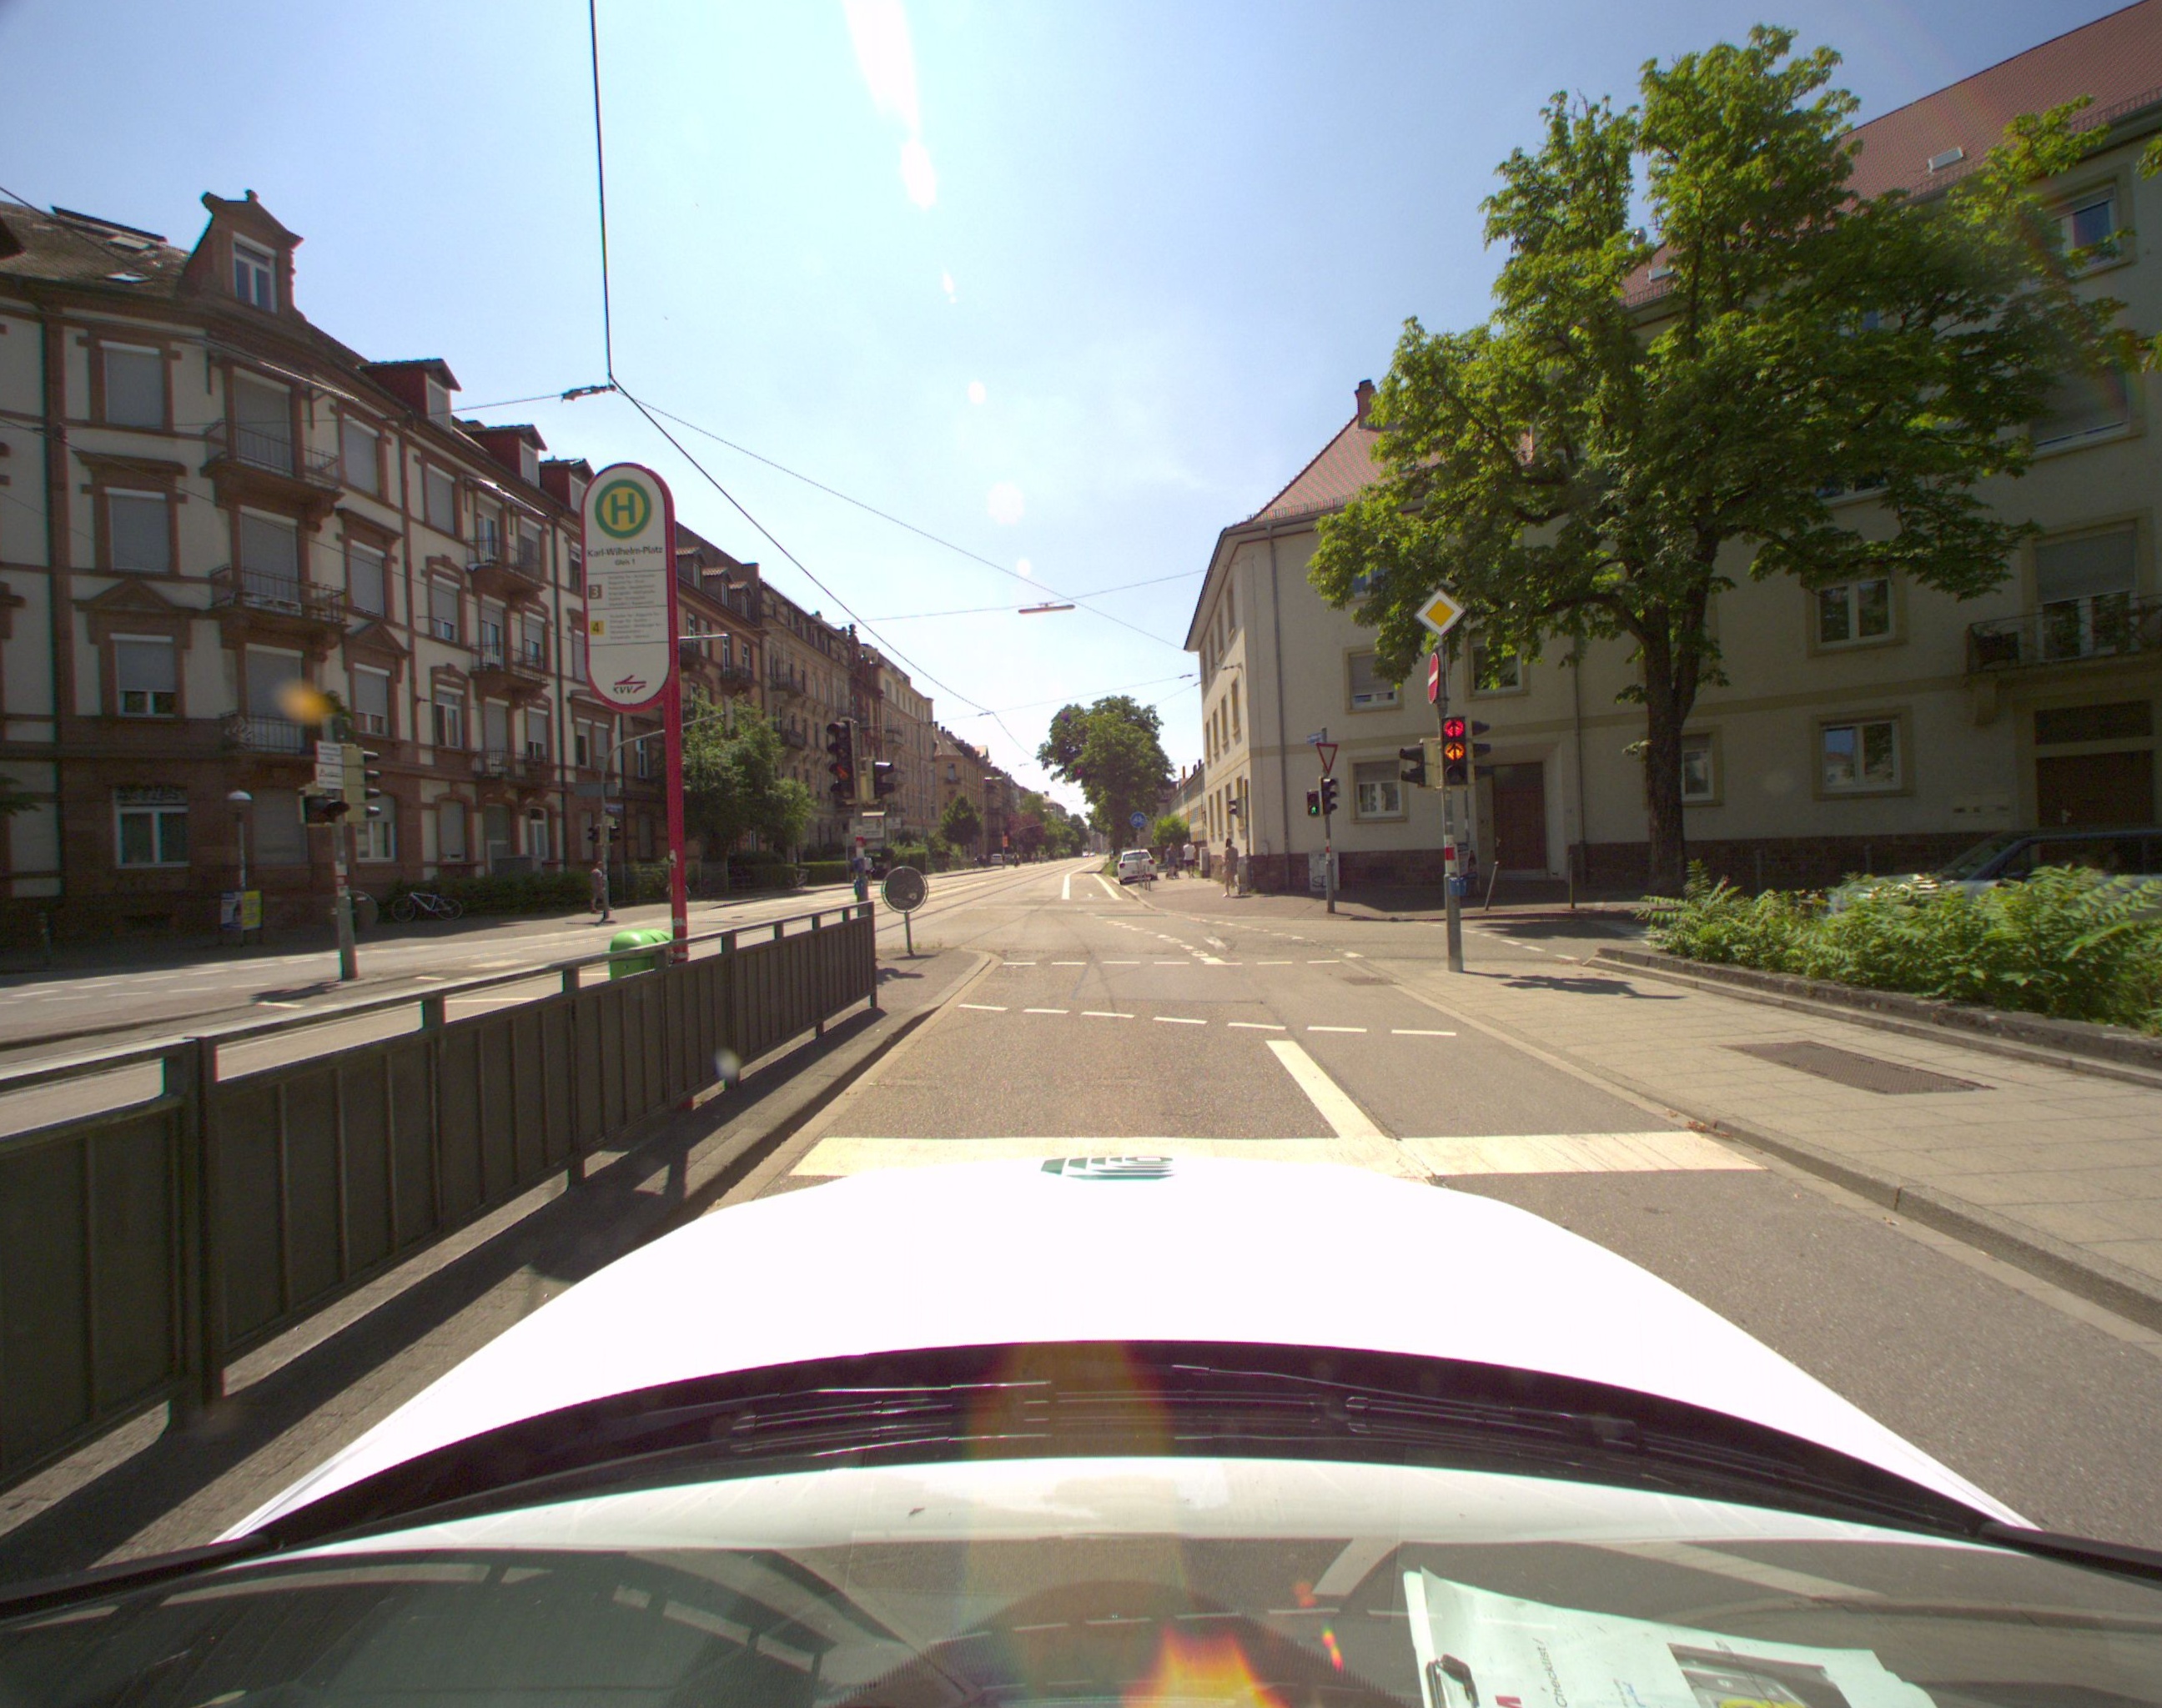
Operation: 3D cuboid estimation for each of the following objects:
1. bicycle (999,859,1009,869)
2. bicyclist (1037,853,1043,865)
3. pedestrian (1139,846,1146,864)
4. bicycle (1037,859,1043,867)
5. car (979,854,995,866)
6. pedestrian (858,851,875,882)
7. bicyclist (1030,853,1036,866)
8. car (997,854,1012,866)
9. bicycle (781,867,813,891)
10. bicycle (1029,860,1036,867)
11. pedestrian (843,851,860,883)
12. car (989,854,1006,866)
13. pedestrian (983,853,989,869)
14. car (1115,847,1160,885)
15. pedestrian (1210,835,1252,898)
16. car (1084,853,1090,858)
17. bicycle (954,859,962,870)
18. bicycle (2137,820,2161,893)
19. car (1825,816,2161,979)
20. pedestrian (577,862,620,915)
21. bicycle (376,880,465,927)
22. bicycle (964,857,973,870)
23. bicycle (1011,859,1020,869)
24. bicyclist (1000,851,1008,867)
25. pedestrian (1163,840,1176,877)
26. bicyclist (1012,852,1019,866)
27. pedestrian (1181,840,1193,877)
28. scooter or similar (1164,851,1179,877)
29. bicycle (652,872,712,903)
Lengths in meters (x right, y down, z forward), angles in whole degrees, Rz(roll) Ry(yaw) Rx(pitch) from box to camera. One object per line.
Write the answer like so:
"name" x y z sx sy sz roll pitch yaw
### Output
"bicycle" -8.240 1.070 87.272 0.724 1.123 2.087 0 -1 4
"bicyclist" -6.156 0.745 121.704 0.724 1.818 1.080 0 -1 3
"pedestrian" 5.475 0.112 72.636 0.519 1.562 0.573 -2 0 1
"bicycle" -6.139 1.353 121.623 0.724 1.123 2.087 0 -1 4
"car" -14.339 0.904 124.456 1.912 1.715 4.001 0 -1 2
"pedestrian" -12.893 0.746 48.984 0.814 1.822 0.872 0 1 -4
"bicyclist" -7.216 0.817 121.685 0.724 1.818 1.080 0 -1 3
"car" -11.666 0.883 124.318 1.912 1.715 4.001 0 -1 2
"bicycle" -14.380 1.257 41.247 0.936 1.136 2.767 0 -1 -7
"bicycle" -7.214 1.394 121.717 0.724 1.123 2.087 0 -1 4
"pedestrian" -13.651 0.766 48.410 0.814 1.822 0.872 0 1 -4
"car" -11.886 0.817 116.054 1.912 1.715 4.001 0 -1 2
"pedestrian" -10.305 0.776 88.481 0.519 1.659 0.529 -2 0 1
"car" 2.522 0.533 37.387 1.808 1.516 4.001 -4 -1 2
"pedestrian" 4.269 0.332 23.244 0.651 1.690 1.054 -8 3 -10
"car" 1.675 0.472 225.356 1.699 1.277 4.001 0 0 2
"bicycle" -12.158 1.035 80.488 0.677 1.064 1.912 -2 0 -9
"bicycle" 17.009 0.022 12.074 0.527 1.104 1.589 -2 0 -34
"car" 10.329 0.391 8.557 1.715 1.506 3.607 -2 1 -44
"pedestrian" -16.144 1.135 27.248 1.068 1.689 0.714 -2 0 -42
"bicycle" -19.556 1.439 24.149 0.557 1.294 1.975 -1 -1 43
"bicycle" -11.714 0.962 85.125 0.675 1.278 1.918 -2 0 -1
"bicycle" -7.840 1.185 97.684 0.724 1.123 2.087 0 -1 4
"bicyclist" -8.242 0.545 87.286 0.724 1.629 1.080 0 -1 3
"pedestrian" 3.989 0.212 36.564 0.553 1.645 0.678 0 -1 7
"bicyclist" -7.839 0.597 97.757 0.724 1.768 1.080 0 -1 3
"pedestrian" 4.801 0.208 36.844 0.553 1.645 0.678 0 -1 7
"scooter or similar" 4.178 0.458 37.492 0.553 1.155 1.209 -1 -1 12
"bicycle" -15.672 1.302 32.071 0.934 1.136 2.774 0 -1 1
